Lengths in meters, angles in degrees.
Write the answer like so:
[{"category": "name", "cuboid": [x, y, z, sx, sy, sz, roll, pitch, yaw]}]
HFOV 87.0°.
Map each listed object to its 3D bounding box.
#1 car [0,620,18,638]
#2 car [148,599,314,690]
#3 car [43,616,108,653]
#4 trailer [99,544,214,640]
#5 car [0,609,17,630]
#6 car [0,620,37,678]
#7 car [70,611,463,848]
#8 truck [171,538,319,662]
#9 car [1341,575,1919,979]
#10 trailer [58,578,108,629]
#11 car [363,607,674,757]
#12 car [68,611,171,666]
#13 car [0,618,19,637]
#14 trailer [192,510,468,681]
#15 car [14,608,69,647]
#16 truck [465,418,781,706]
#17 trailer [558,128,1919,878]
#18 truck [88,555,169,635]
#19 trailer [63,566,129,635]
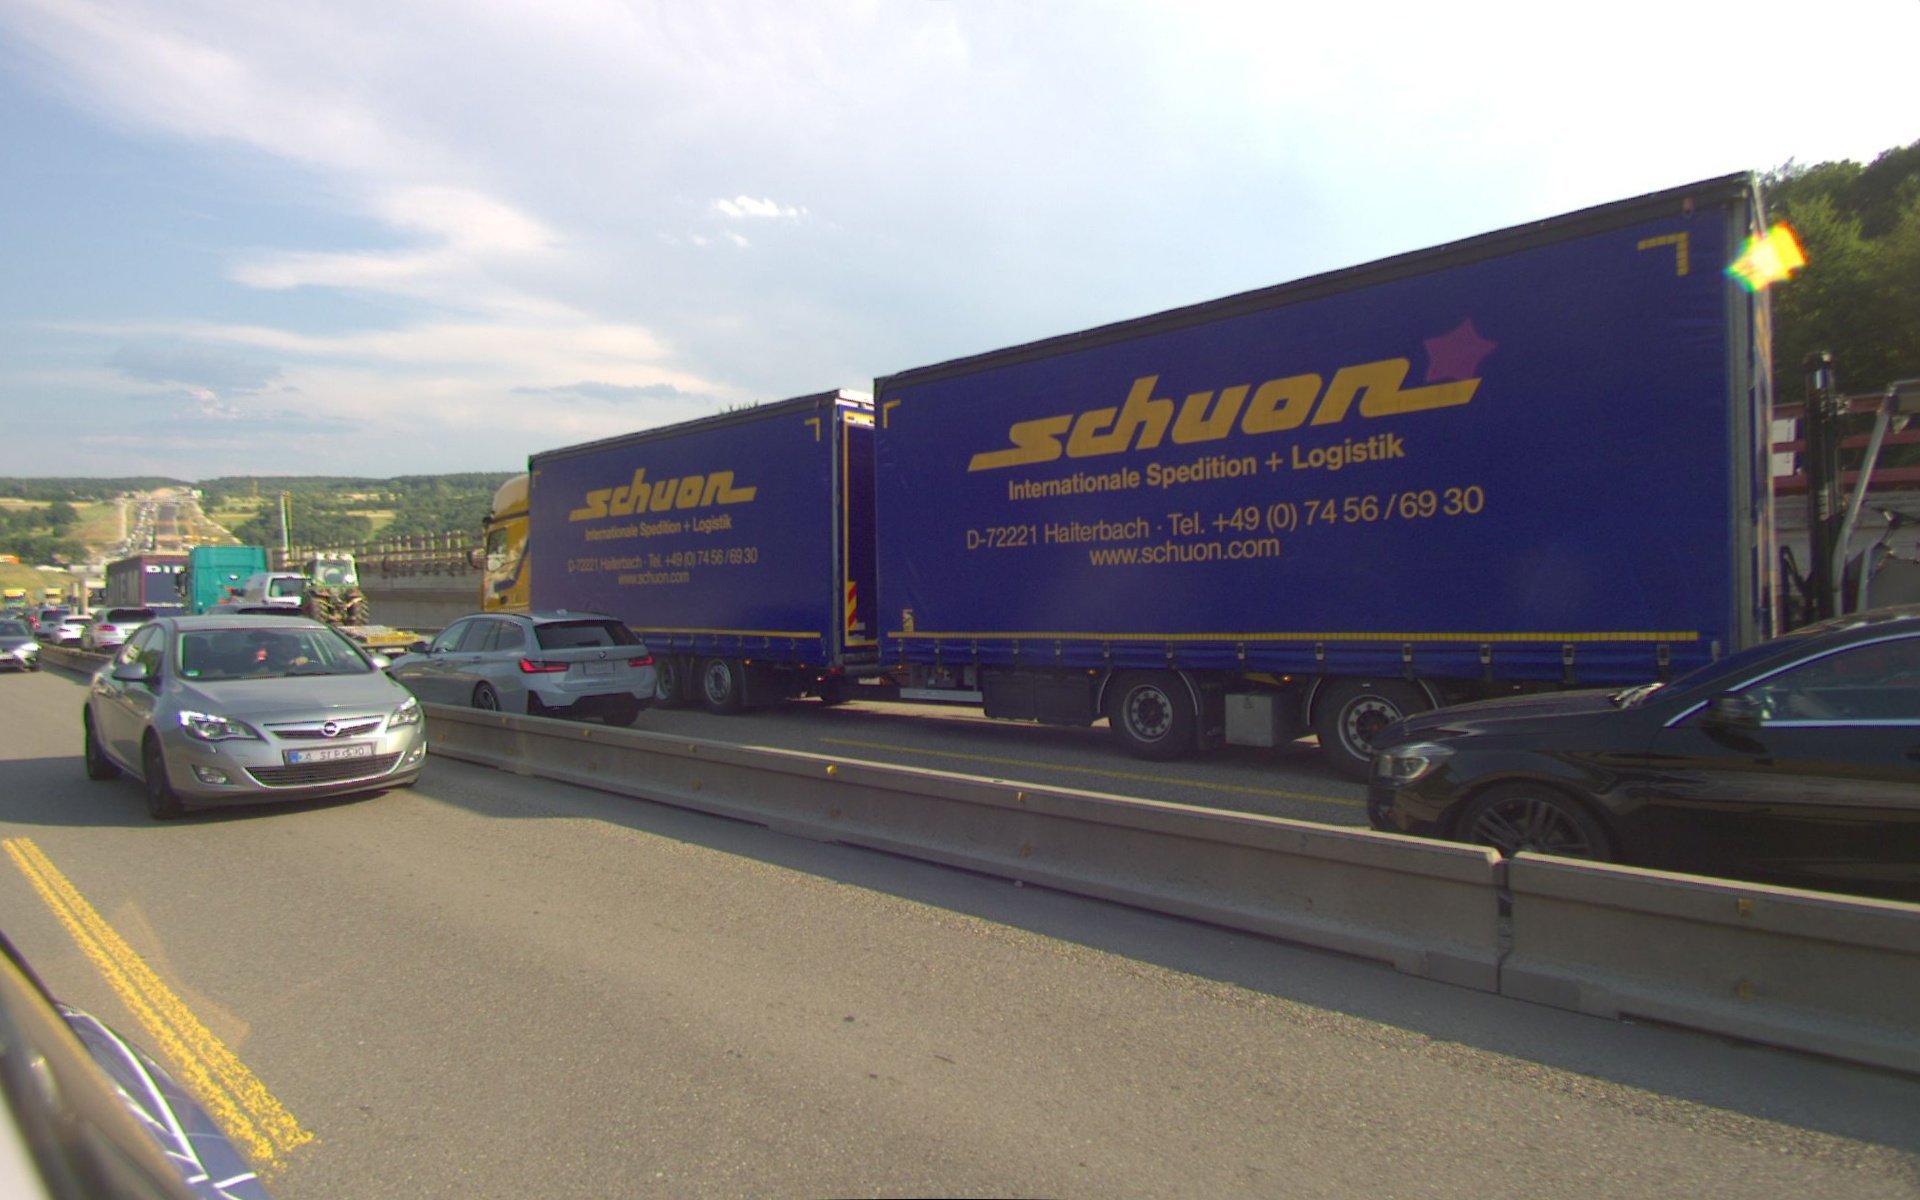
[{"category": "car", "cuboid": [-91.357, 2.783, 96.776, 1.754, 1.467, 4.819, -2, 2, -44]}, {"category": "car", "cuboid": [-15.544, 0.845, 21.477, 4.690, 1.714, 1.906, 0, 0, 42]}, {"category": "car", "cuboid": [-39.530, 1.495, 45.195, 4.818, 1.533, 1.783, 0, -2, 44]}, {"category": "trailer", "cuboid": [-39.408, -0.269, 49.390, 12.495, 4.154, 2.684, -1, -2, 44]}, {"category": "car", "cuboid": [-80.442, 1.670, 84.870, 1.841, 1.598, 4.750, -4, 4, -44]}, {"category": "car", "cuboid": [-25.779, 1.279, 26.779, 4.002, 1.452, 1.798, -1, 0, 45]}, {"category": "car", "cuboid": [-5.959, 0.849, 8.498, 4.117, 1.498, 1.787, -1, -1, 41]}, {"category": "truck", "cuboid": [-24.637, 0.055, 34.720, 7.112, 3.834, 2.719, -1, -2, 43]}, {"category": "car", "cuboid": [4.213, 0.648, 4.211, 4.613, 1.464, 1.778, 0, 0, 41]}, {"category": "trailer", "cuboid": [-78.325, 0.325, 90.271, 2.743, 4.235, 13.846, 1, 0, -43]}, {"category": "car", "cuboid": [-5.664, 0.859, 12.661, 4.723, 1.509, 1.769, 0, 0, 42]}, {"category": "car", "cuboid": [-27.859, 1.199, 33.488, 4.847, 1.657, 1.938, 0, 0, 42]}, {"category": "car", "cuboid": [-86.601, 2.491, 91.818, 1.746, 1.562, 4.483, -1, 2, -44]}, {"category": "trailer", "cuboid": [-18.802, -0.014, 29.225, 16.048, 3.845, 2.718, -1, -2, 43]}, {"category": "car", "cuboid": [-50.165, 1.482, 55.234, 5.131, 1.948, 1.803, 0, -3, 44]}, {"category": "truck", "cuboid": [-5.986, -0.544, 17.558, 5.792, 4.172, 2.673, 0, 0, 42]}, {"category": "trailer", "cuboid": [0.749, -0.543, 11.524, 16.747, 4.166, 2.686, 0, 0, 42]}, {"category": "truck", "cuboid": [-45.188, -0.196, 54.957, 5.031, 4.146, 2.719, -1, -2, 43]}, {"category": "trailer", "cuboid": [-59.293, 0.034, 69.384, 2.878, 4.499, 7.157, -1, 0, -45]}]
